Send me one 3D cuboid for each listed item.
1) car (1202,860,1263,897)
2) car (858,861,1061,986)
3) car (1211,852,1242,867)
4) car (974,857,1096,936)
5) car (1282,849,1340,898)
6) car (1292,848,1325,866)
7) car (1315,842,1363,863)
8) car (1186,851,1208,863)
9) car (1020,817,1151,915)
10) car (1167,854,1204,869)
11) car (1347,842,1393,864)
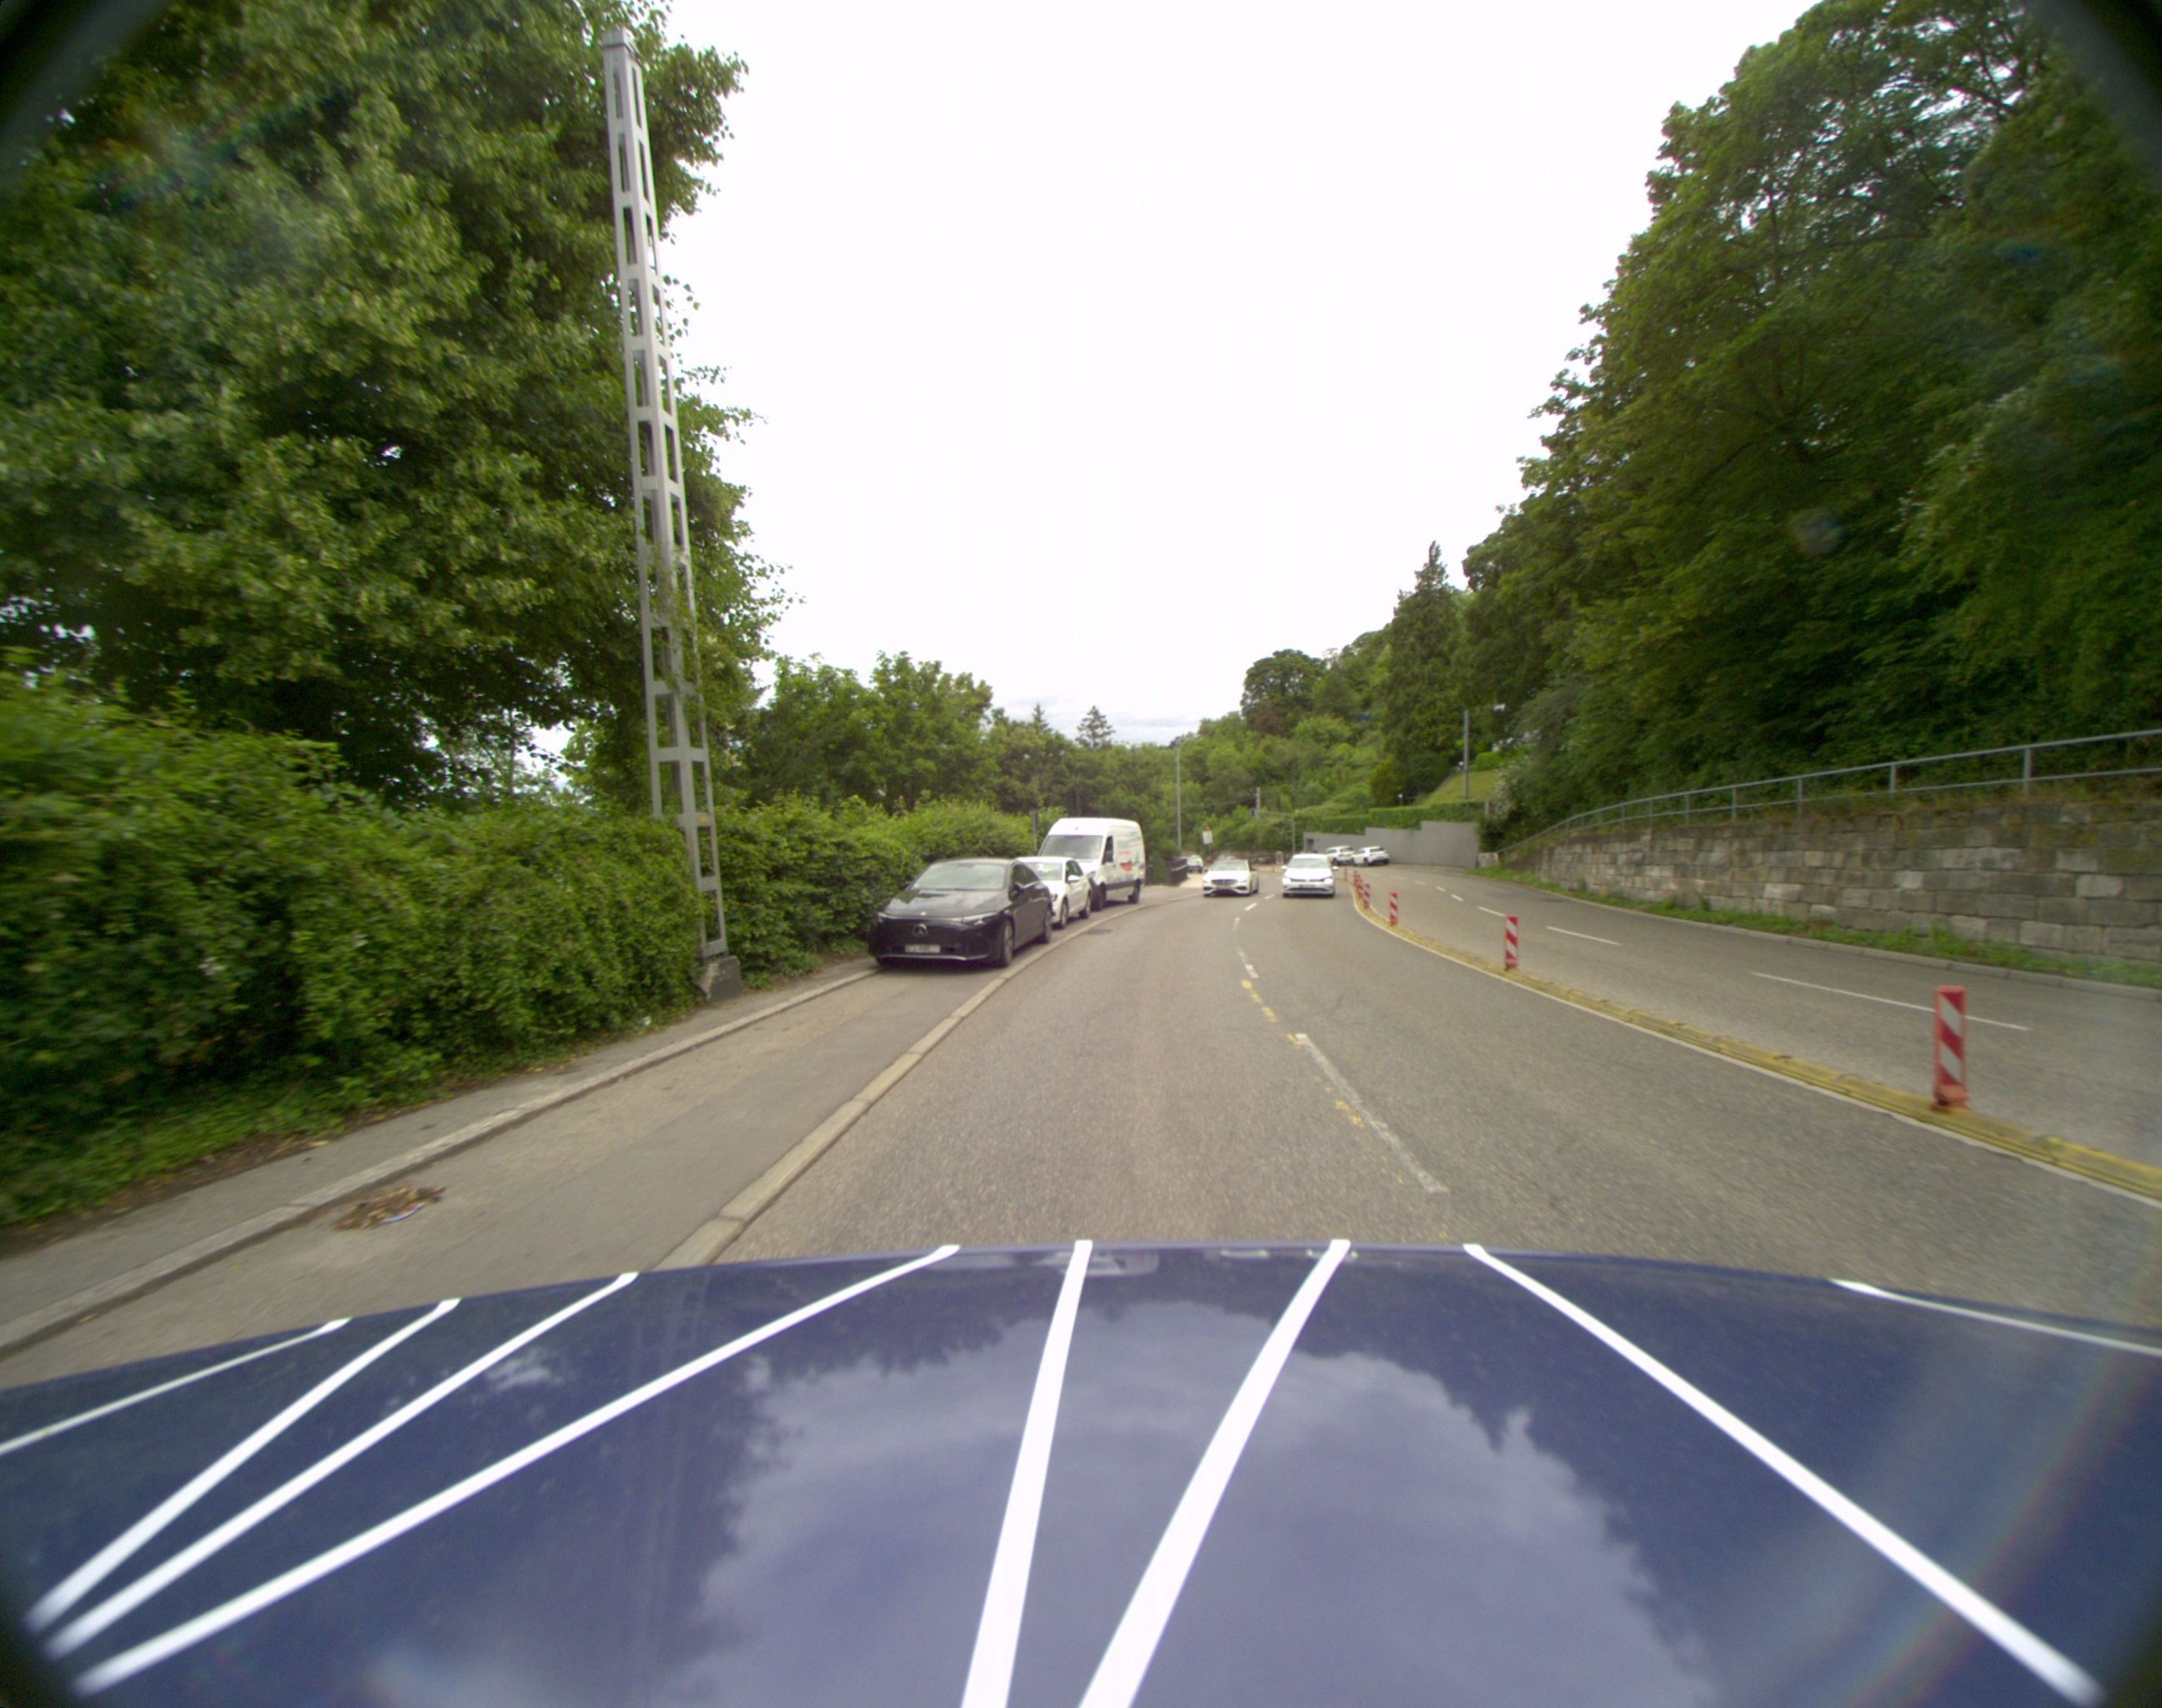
[{"bbox_3d":[6.049,0.936,30.062,1.795,1.298,4.106,-3,-1,19],"label":"car"},{"bbox_3d":[-1.559,0.867,11.573,1.704,1.455,4.666,-1,0,9],"label":"car"},{"bbox_3d":[16.742,0.610,87.644,1.717,1.588,4.201,-3,1,-16],"label":"car"},{"bbox_3d":[-0.864,0.825,16.614,1.703,1.455,3.838,0,1,12],"label":"car"},{"bbox_3d":[8.547,0.671,28.063,1.883,1.569,4.004,-1,2,19],"label":"car"},{"bbox_3d":[22.095,0.294,73.803,1.717,1.564,2.955,-6,0,-12],"label":"car"},{"bbox_3d":[23.253,-0.122,68.684,1.865,1.721,4.757,-5,1,-10],"label":"car"},{"bbox_3d":[14.884,0.404,97.479,1.716,1.458,3.657,-4,0,-10],"label":"car"},{"bbox_3d":[0.335,0.270,22.530,2.086,2.509,5.852,1,1,19],"label":"car"},{"bbox_3d":[10.315,0.793,75.140,1.801,1.298,4.094,-2,-1,-22],"label":"car"},{"bbox_3d":[23.923,-0.104,63.044,1.838,1.563,4.473,-4,1,-3],"label":"car"}]
